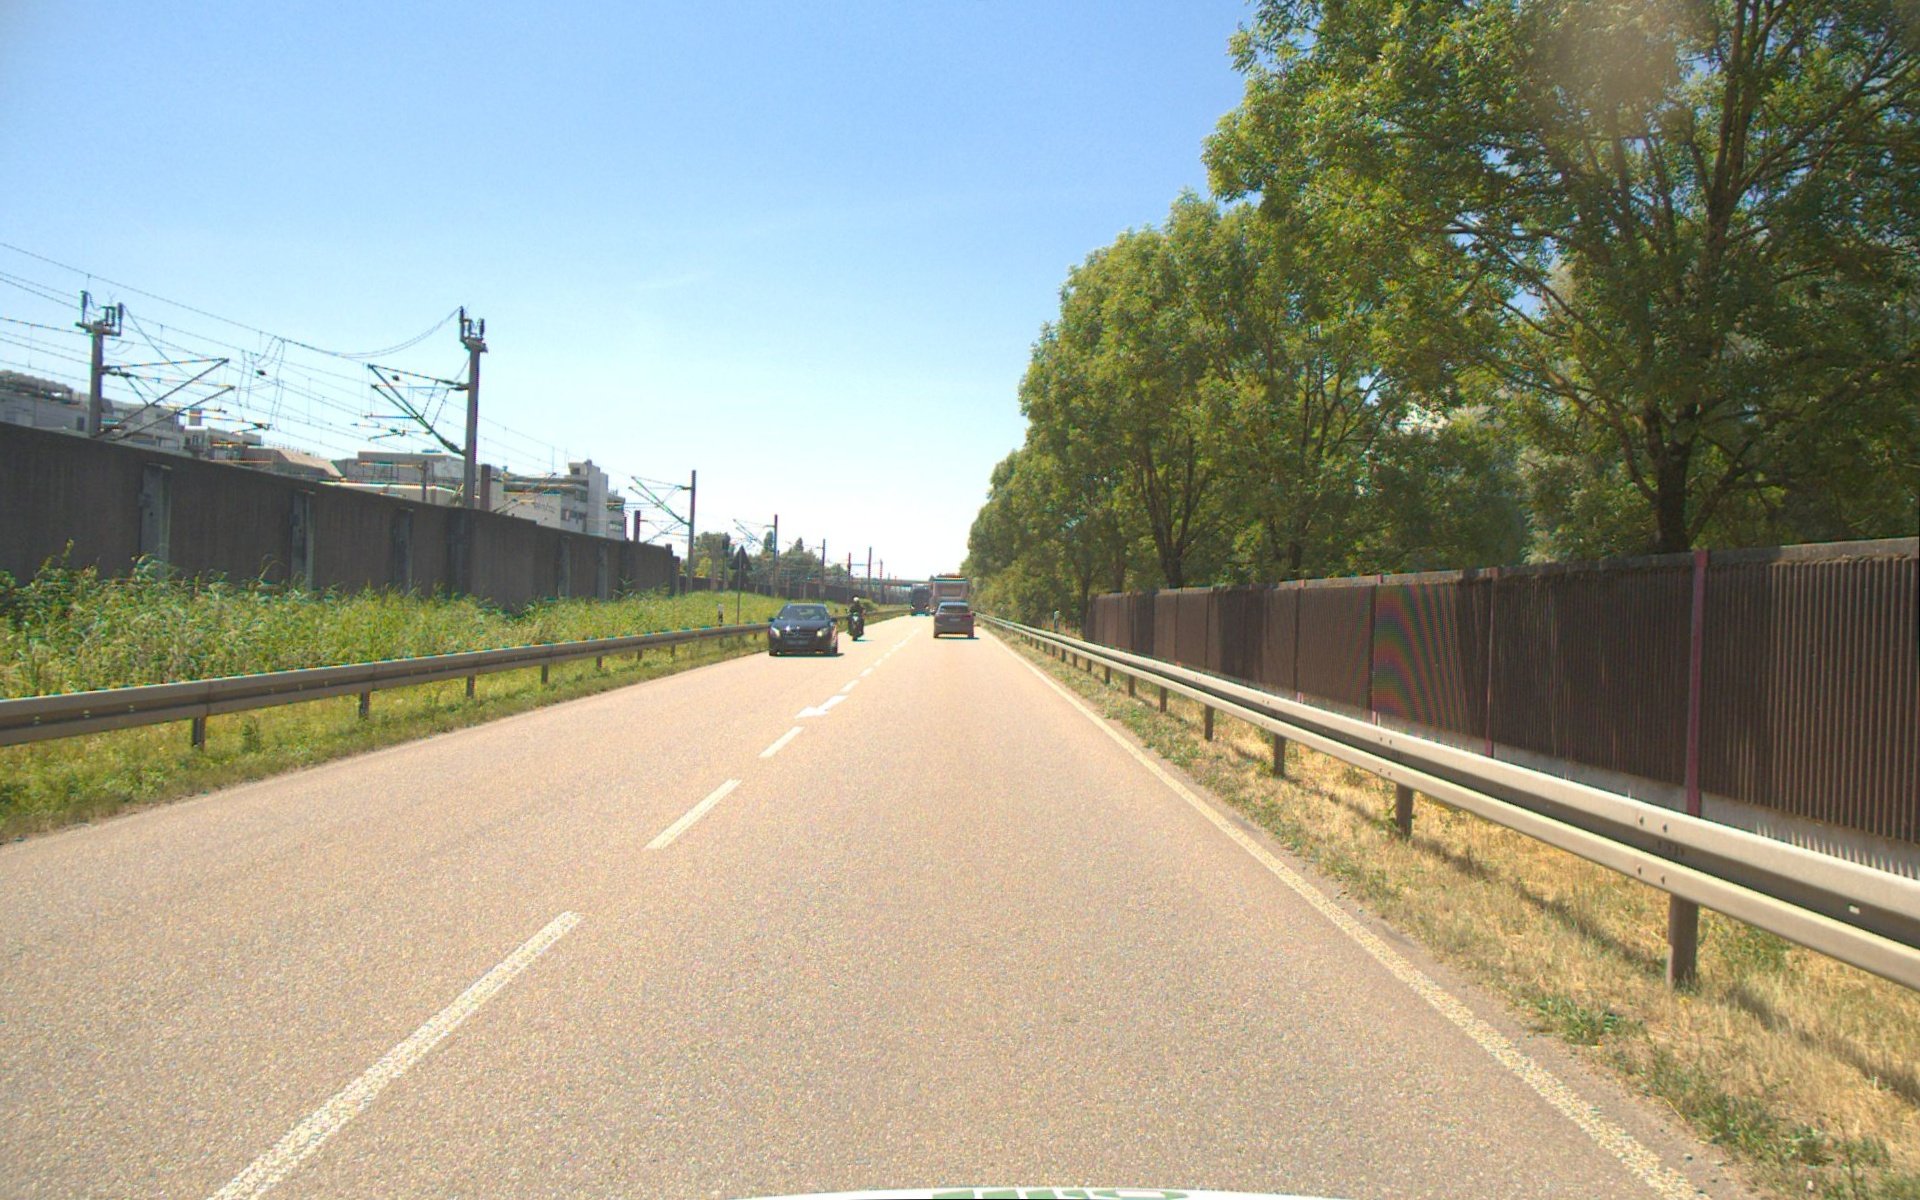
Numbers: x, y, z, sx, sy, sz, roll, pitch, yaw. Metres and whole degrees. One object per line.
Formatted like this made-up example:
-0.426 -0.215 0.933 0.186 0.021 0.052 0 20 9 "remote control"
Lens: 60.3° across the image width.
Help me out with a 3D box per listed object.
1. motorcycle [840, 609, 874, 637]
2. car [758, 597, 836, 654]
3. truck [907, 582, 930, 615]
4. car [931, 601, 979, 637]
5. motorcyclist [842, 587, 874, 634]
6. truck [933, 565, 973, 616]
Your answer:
-4.151 0.932 67.061 1.212 1.091 3.128 1 0 -1 "motorcycle"
-4.607 0.704 47.266 1.953 1.534 3.998 1 0 -2 "car"
-5.527 -0.163 220.404 2.740 4.048 10.497 -2 -1 -1 "truck"
-0.251 0.828 73.543 1.954 1.534 3.998 1 0 -3 "car"
-4.132 0.425 67.032 1.228 1.897 1.245 1 0 -1 "motorcyclist"
-0.552 -0.626 120.732 2.714 3.485 10.817 1 0 0 "truck"
